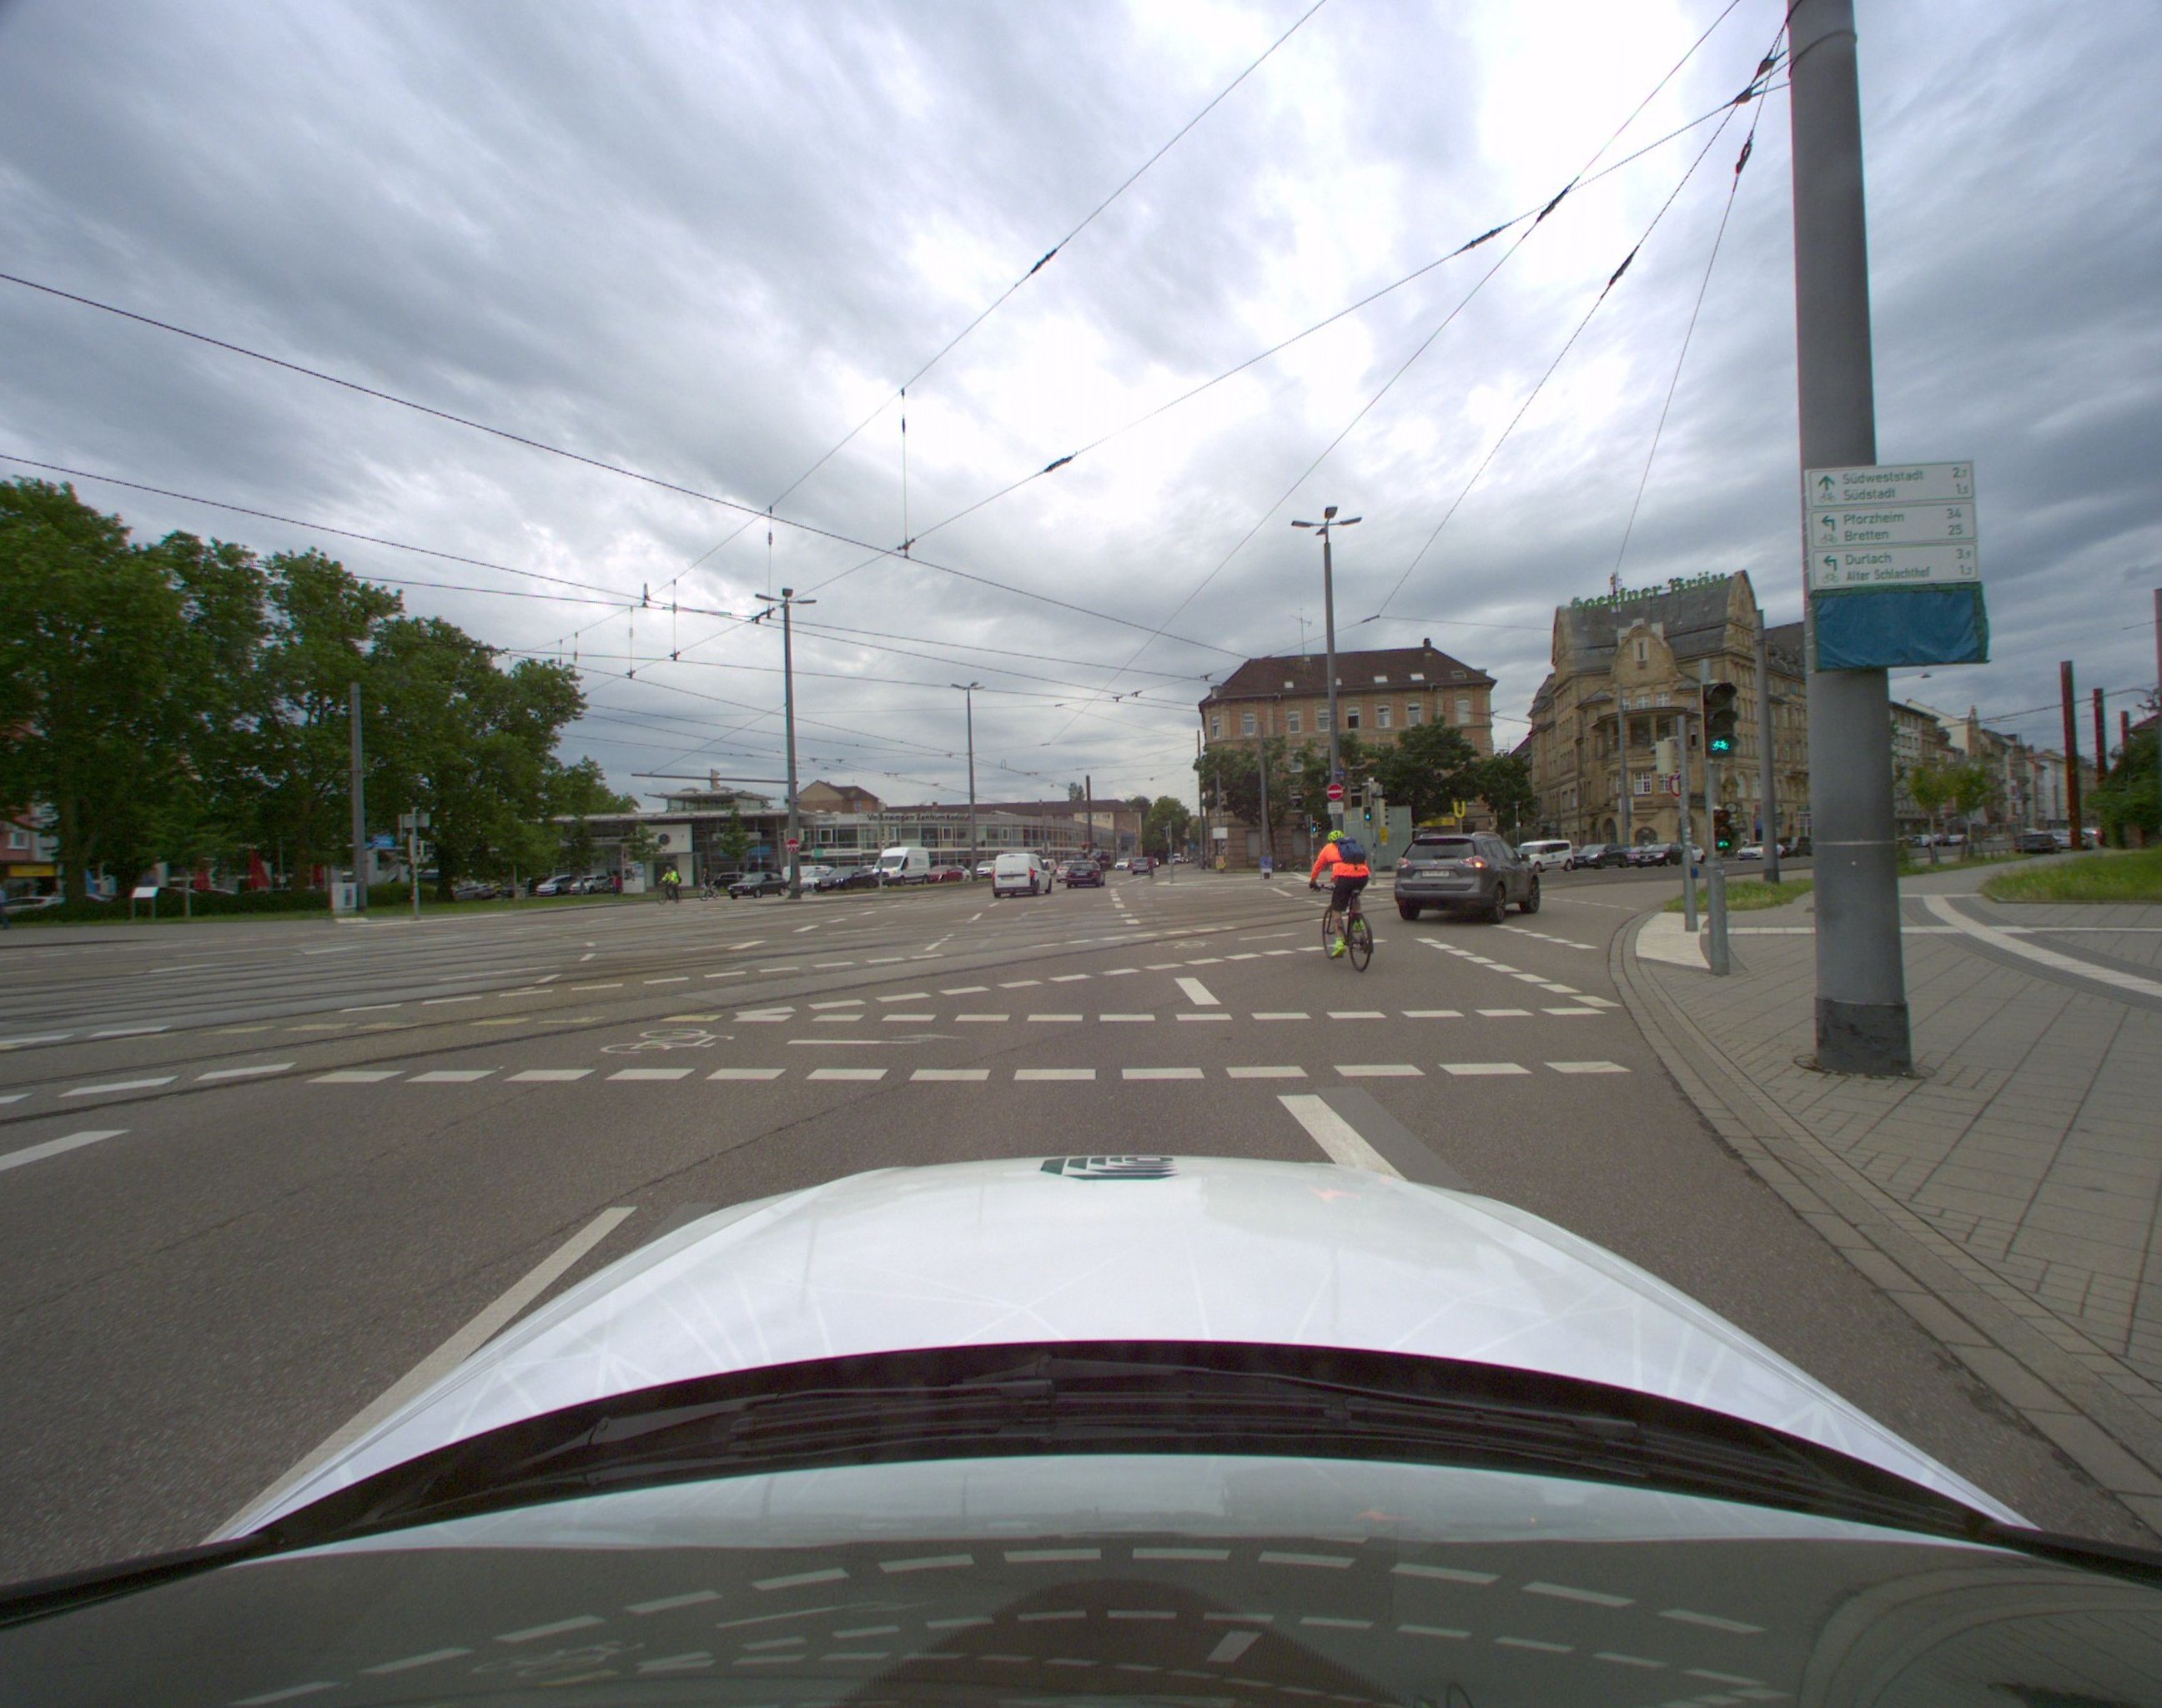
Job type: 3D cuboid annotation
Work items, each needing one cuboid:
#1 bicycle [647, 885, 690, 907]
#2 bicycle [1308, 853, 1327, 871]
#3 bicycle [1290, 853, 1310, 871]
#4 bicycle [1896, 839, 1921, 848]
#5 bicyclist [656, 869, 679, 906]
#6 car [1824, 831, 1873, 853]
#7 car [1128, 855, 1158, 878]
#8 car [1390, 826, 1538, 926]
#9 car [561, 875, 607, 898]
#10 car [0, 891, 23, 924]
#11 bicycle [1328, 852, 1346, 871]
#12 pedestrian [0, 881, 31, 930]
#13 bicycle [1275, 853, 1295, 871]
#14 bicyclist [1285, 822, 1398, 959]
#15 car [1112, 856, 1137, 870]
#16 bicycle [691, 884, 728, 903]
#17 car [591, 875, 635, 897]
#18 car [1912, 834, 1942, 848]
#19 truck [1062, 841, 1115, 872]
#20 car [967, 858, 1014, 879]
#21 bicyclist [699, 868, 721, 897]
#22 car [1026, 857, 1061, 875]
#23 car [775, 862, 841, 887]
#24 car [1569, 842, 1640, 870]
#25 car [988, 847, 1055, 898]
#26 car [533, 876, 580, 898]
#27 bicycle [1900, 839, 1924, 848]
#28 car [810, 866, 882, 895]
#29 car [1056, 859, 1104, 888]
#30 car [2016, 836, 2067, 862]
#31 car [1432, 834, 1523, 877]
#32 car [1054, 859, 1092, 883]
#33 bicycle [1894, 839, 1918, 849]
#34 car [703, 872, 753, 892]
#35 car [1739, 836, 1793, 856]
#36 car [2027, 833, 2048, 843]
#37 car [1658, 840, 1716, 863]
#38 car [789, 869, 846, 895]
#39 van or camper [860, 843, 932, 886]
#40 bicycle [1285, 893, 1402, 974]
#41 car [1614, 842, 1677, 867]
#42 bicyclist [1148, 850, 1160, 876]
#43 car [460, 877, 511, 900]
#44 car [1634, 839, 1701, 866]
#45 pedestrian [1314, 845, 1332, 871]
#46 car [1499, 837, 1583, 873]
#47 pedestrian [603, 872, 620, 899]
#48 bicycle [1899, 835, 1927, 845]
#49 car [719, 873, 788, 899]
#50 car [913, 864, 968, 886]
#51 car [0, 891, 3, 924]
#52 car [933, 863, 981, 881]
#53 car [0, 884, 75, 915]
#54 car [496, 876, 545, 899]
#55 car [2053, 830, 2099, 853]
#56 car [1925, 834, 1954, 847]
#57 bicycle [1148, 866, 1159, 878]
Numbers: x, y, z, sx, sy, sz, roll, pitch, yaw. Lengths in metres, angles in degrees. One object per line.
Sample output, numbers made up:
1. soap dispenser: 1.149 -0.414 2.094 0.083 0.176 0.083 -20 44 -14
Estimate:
1. bicycle: -20.601 2.096 40.718 0.514 0.930 2.232 -2 0 15
2. bicycle: 18.101 0.606 62.228 0.949 1.354 3.138 -1 -1 24
3. bicycle: 16.855 0.630 62.599 0.949 1.354 3.138 -1 -1 24
4. bicycle: 95.187 -1.179 93.698 0.466 1.001 1.949 -1 -1 -41
5. bicyclist: -20.645 1.664 40.677 0.623 1.803 0.800 -2 -1 15
6. car: 65.536 -1.020 69.521 4.928 1.706 1.849 -2 -2 -33
7. car: 5.709 1.098 74.410 1.979 2.014 4.016 -1 -1 15
8. car: 7.752 0.365 16.303 1.733 1.756 3.948 -2 0 39
9. car: -47.964 3.104 78.694 1.988 2.014 3.998 -1 -1 -1
10. car: -59.884 2.893 43.254 4.008 1.706 1.983 0 -1 -27
11. bicycle: 19.568 0.584 62.169 0.949 1.354 3.138 -1 -1 24
12. pedestrian: -38.654 1.853 29.264 0.919 1.720 0.699 0 -1 -35
13. bicycle: 15.755 0.650 62.945 0.949 1.354 3.138 -1 -1 24
14. bicyclist: 3.299 0.440 10.446 0.826 1.621 1.318 -2 -1 -8
15. car: 5.865 1.212 109.295 1.976 1.839 4.547 -2 -1 22
16. bicycle: -19.904 2.111 43.685 0.514 0.926 2.232 -2 0 15
17. car: -45.125 3.062 78.575 1.988 2.014 3.998 -1 -1 -1
18. car: 102.590 -1.592 98.744 4.420 1.504 1.762 -1 -1 -35
19. truck: 1.067 0.325 99.528 2.768 3.549 9.277 -1 -1 26
20. car: -8.423 1.349 76.472 2.139 1.856 5.475 -2 0 20
21. bicyclist: -19.915 1.533 43.705 0.561 1.508 0.860 -2 1 15
22. car: -4.026 1.296 87.863 1.976 1.839 4.547 -2 -1 22
23. car: -22.688 1.707 67.874 4.736 2.014 2.127 -1 -1 10
24. car: 32.145 0.120 50.005 4.315 1.535 1.851 -2 -3 -30
25. car: -2.432 0.745 34.241 1.901 1.940 4.140 -2 0 8
26. car: -50.474 3.182 78.501 1.988 2.014 3.998 -1 -1 -1
27. bicycle: 97.737 -1.210 95.766 0.466 1.001 1.949 -1 -1 -41
28. car: -13.304 1.473 46.417 1.981 1.420 4.675 -2 0 10
29. car: -0.006 1.014 43.430 1.983 1.420 4.008 -2 -1 7
30. car: 59.695 -0.310 50.588 3.947 1.434 1.625 -1 -3 -35
31. car: 18.754 0.065 38.454 4.400 1.900 1.678 -1 -1 -31
32. car: -0.489 1.115 54.642 1.841 1.508 4.011 -1 -1 10
33. bicycle: 94.486 -1.151 93.239 0.466 1.001 1.904 -1 -1 -41
34. car: -27.400 2.138 63.315 1.624 1.420 3.751 -2 0 13
35. car: 52.592 -0.602 62.524 4.272 1.380 1.913 -2 -1 -32
36. car: 155.102 -2.586 132.033 4.633 1.449 1.746 -1 -1 -34
37. car: 41.830 -0.187 56.148 4.379 1.380 1.734 -1 -3 -33
38. car: -15.904 1.644 49.314 1.625 1.420 3.748 -2 0 10
39. van or camper: -12.092 0.688 53.761 2.400 2.611 6.070 -1 -1 11
40. bicycle: 3.298 0.968 10.461 0.556 0.848 2.067 -2 -1 -8
41. car: 36.756 0.024 53.039 3.908 1.399 1.850 -1 -3 -31
42. bicyclist: 4.958 0.622 55.692 0.685 1.708 0.798 -2 -1 -1
43. car: -56.938 3.277 77.909 1.988 2.014 3.998 -1 -1 -1
44. car: 34.411 -0.082 47.779 4.013 1.442 1.678 -1 -1 -31
45. pedestrian: 16.296 0.280 54.831 0.909 1.728 0.601 -2 -1 -9
46. car: 26.622 0.042 47.106 5.116 1.916 1.851 -2 -1 -30
47. pedestrian: -34.699 2.322 60.177 0.701 1.900 0.867 -1 -1 24
48. bicycle: 98.819 -1.646 96.733 0.507 1.126 2.211 -1 -1 -41
49. car: -17.570 1.704 43.875 1.676 1.247 3.748 -2 0 10
50. car: -10.320 1.523 60.333 1.978 1.420 4.823 -2 0 17
51. car: -58.408 2.828 41.280 4.008 1.706 1.983 0 -1 -27
52. car: -10.642 1.551 70.311 1.977 1.420 4.774 -2 0 20
53. car: -62.339 2.638 47.587 4.008 1.706 1.983 0 -1 -27
54. car: -53.638 3.203 78.027 1.988 2.014 3.998 -1 -1 -1
55. car: 73.269 -0.930 59.962 3.947 1.574 1.741 -1 -3 -35
56. car: 108.042 -1.753 102.484 4.420 1.504 1.762 -1 -1 -35
57. bicycle: 4.956 1.234 55.707 0.617 0.793 1.591 -2 -1 -1
